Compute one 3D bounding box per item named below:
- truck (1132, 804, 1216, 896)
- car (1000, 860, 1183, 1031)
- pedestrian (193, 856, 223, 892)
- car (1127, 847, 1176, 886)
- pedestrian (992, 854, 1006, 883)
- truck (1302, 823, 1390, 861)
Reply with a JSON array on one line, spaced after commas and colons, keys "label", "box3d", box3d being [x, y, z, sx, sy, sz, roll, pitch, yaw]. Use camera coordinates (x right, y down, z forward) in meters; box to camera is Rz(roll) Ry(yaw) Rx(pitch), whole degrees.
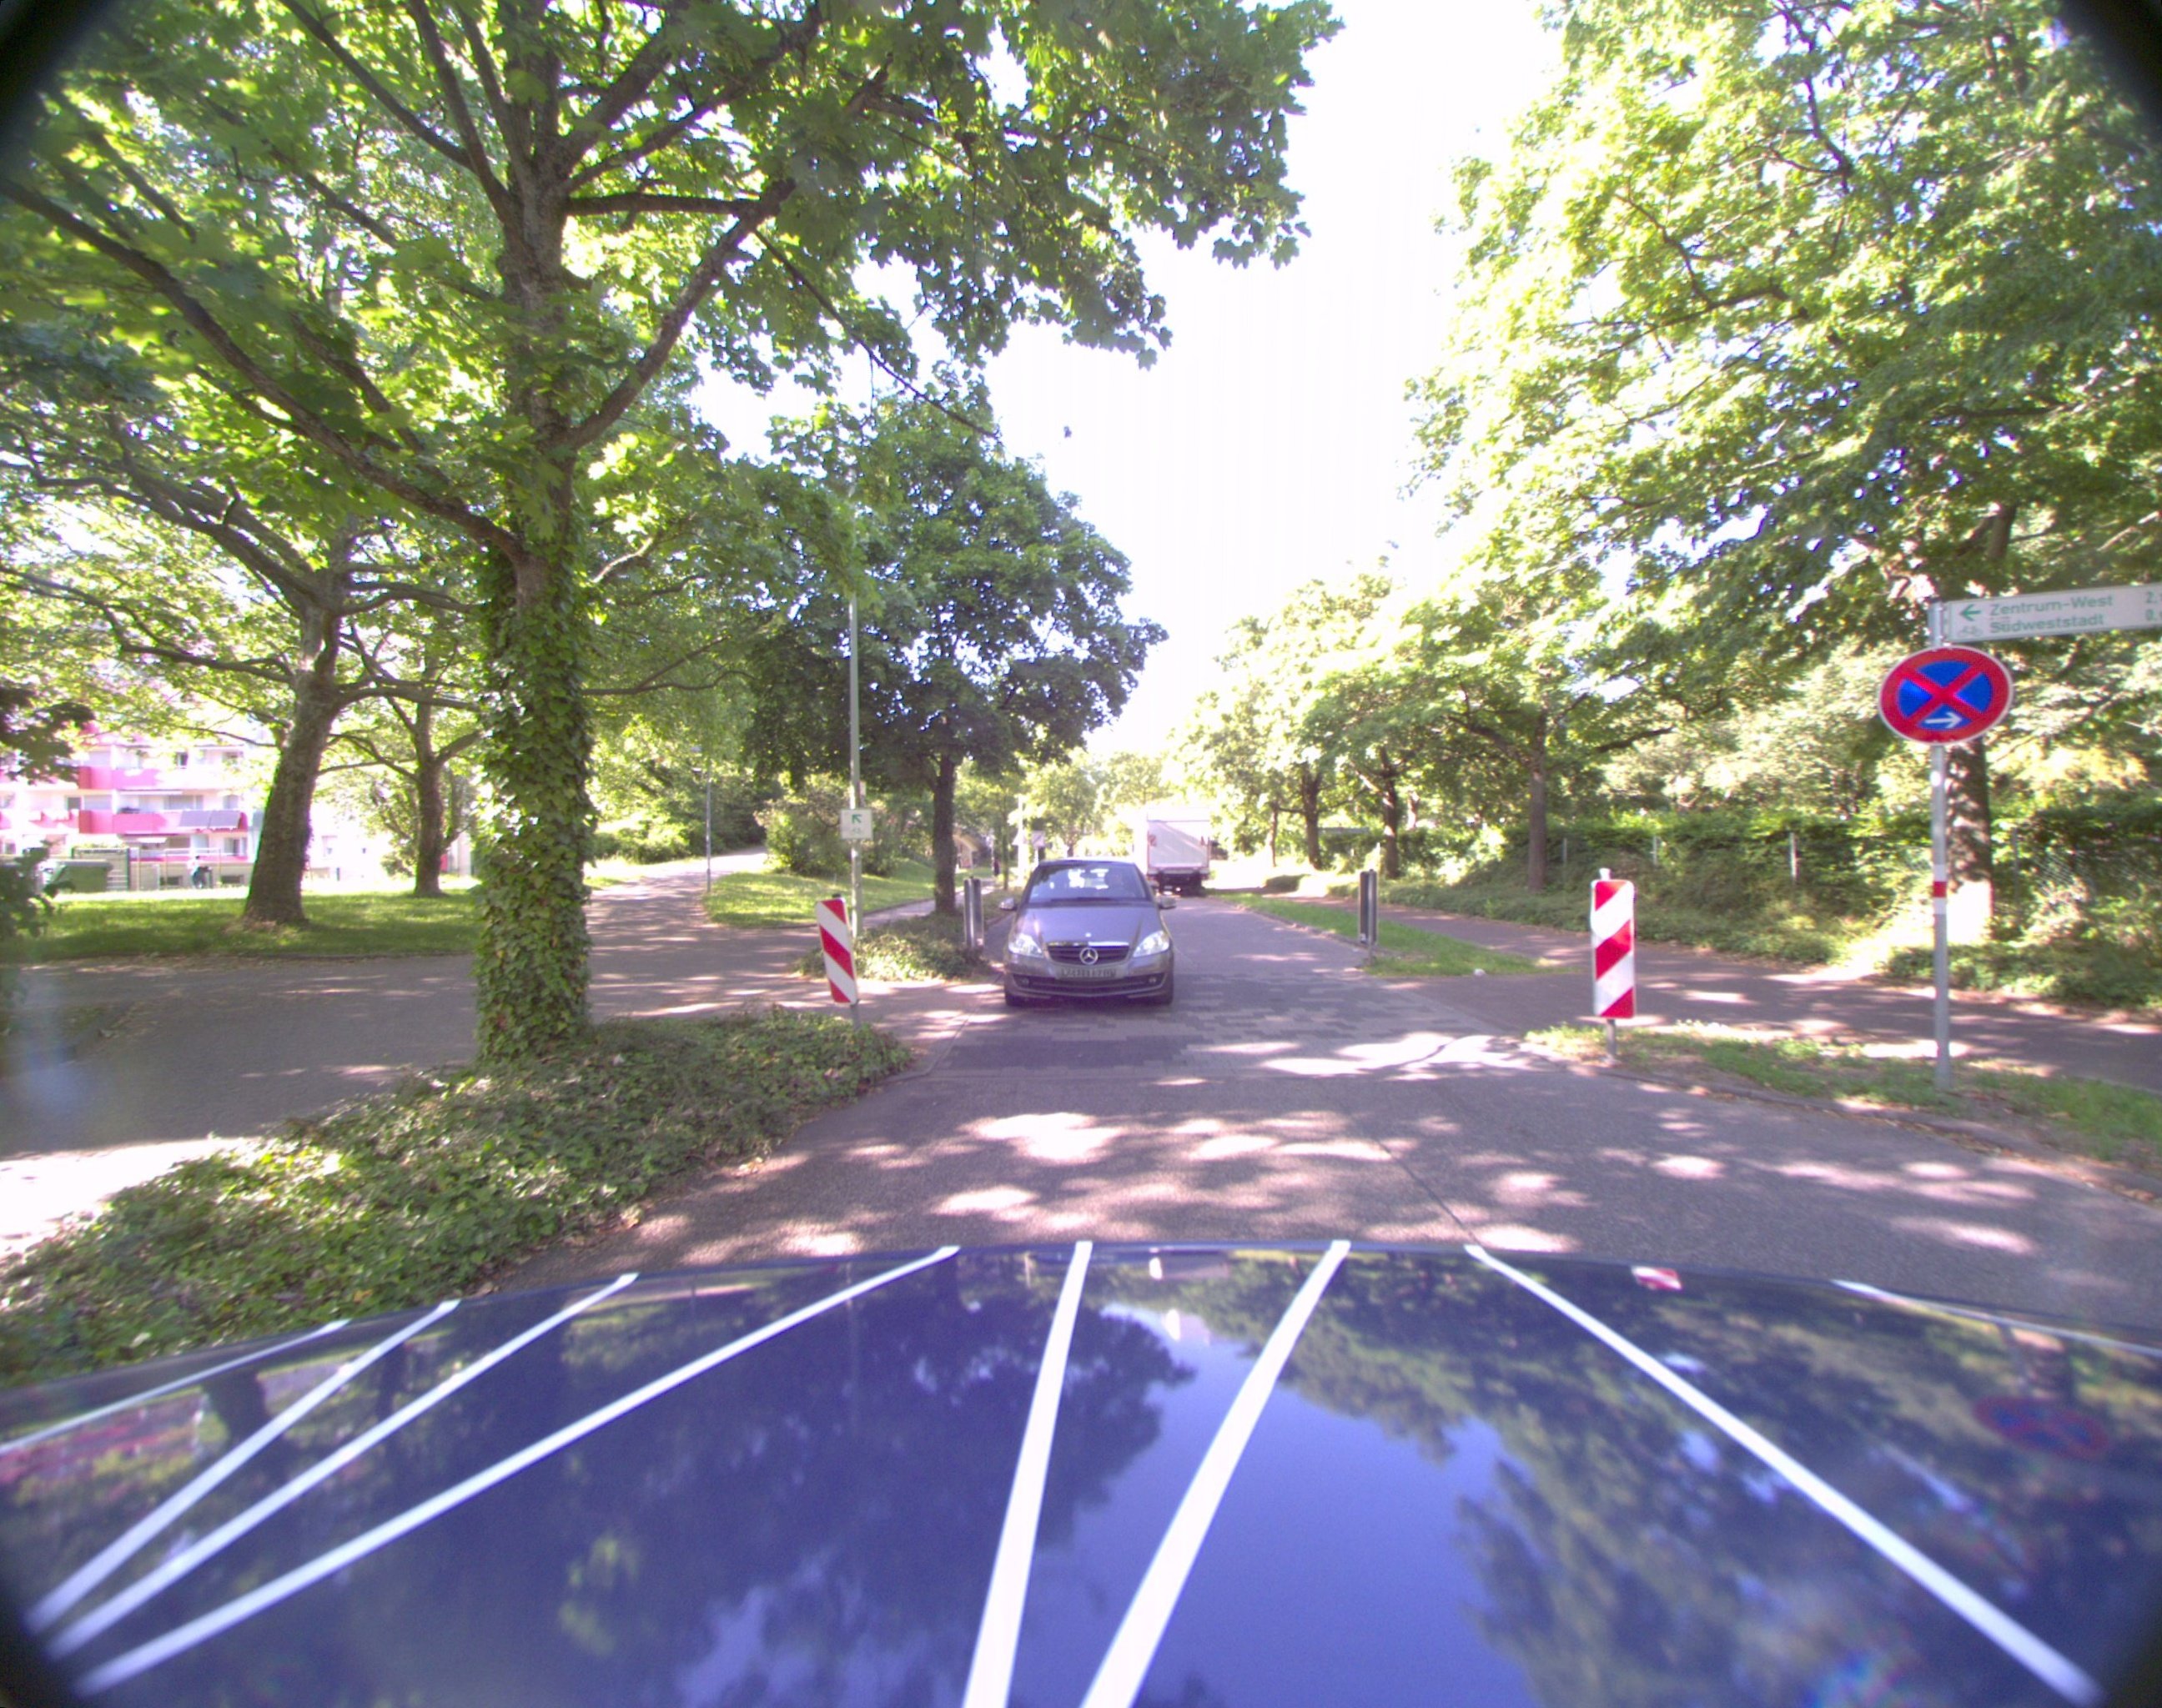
[{"label": "truck", "box3d": [3.953, -0.160, 34.125, 2.741, 3.620, 8.100, -1, 0, 0]}, {"label": "car", "box3d": [0.060, 0.893, 9.309, 1.734, 1.578, 3.999, -1, 0, -1]}, {"label": "pedestrian", "box3d": [-38.868, 0.877, 33.825, 0.627, 1.579, 0.679, -3, 1, -29]}, {"label": "car", "box3d": [3.988, 0.671, 43.964, 2.125, 2.083, 6.583, -1, 0, -1]}, {"label": "pedestrian", "box3d": [-5.250, 0.916, 48.604, 0.793, 1.821, 0.671, -1, 1, 1]}, {"label": "truck", "box3d": [14.365, -0.632, 41.401, 3.997, 2.002, 2.204, 0, 0, -2]}]
